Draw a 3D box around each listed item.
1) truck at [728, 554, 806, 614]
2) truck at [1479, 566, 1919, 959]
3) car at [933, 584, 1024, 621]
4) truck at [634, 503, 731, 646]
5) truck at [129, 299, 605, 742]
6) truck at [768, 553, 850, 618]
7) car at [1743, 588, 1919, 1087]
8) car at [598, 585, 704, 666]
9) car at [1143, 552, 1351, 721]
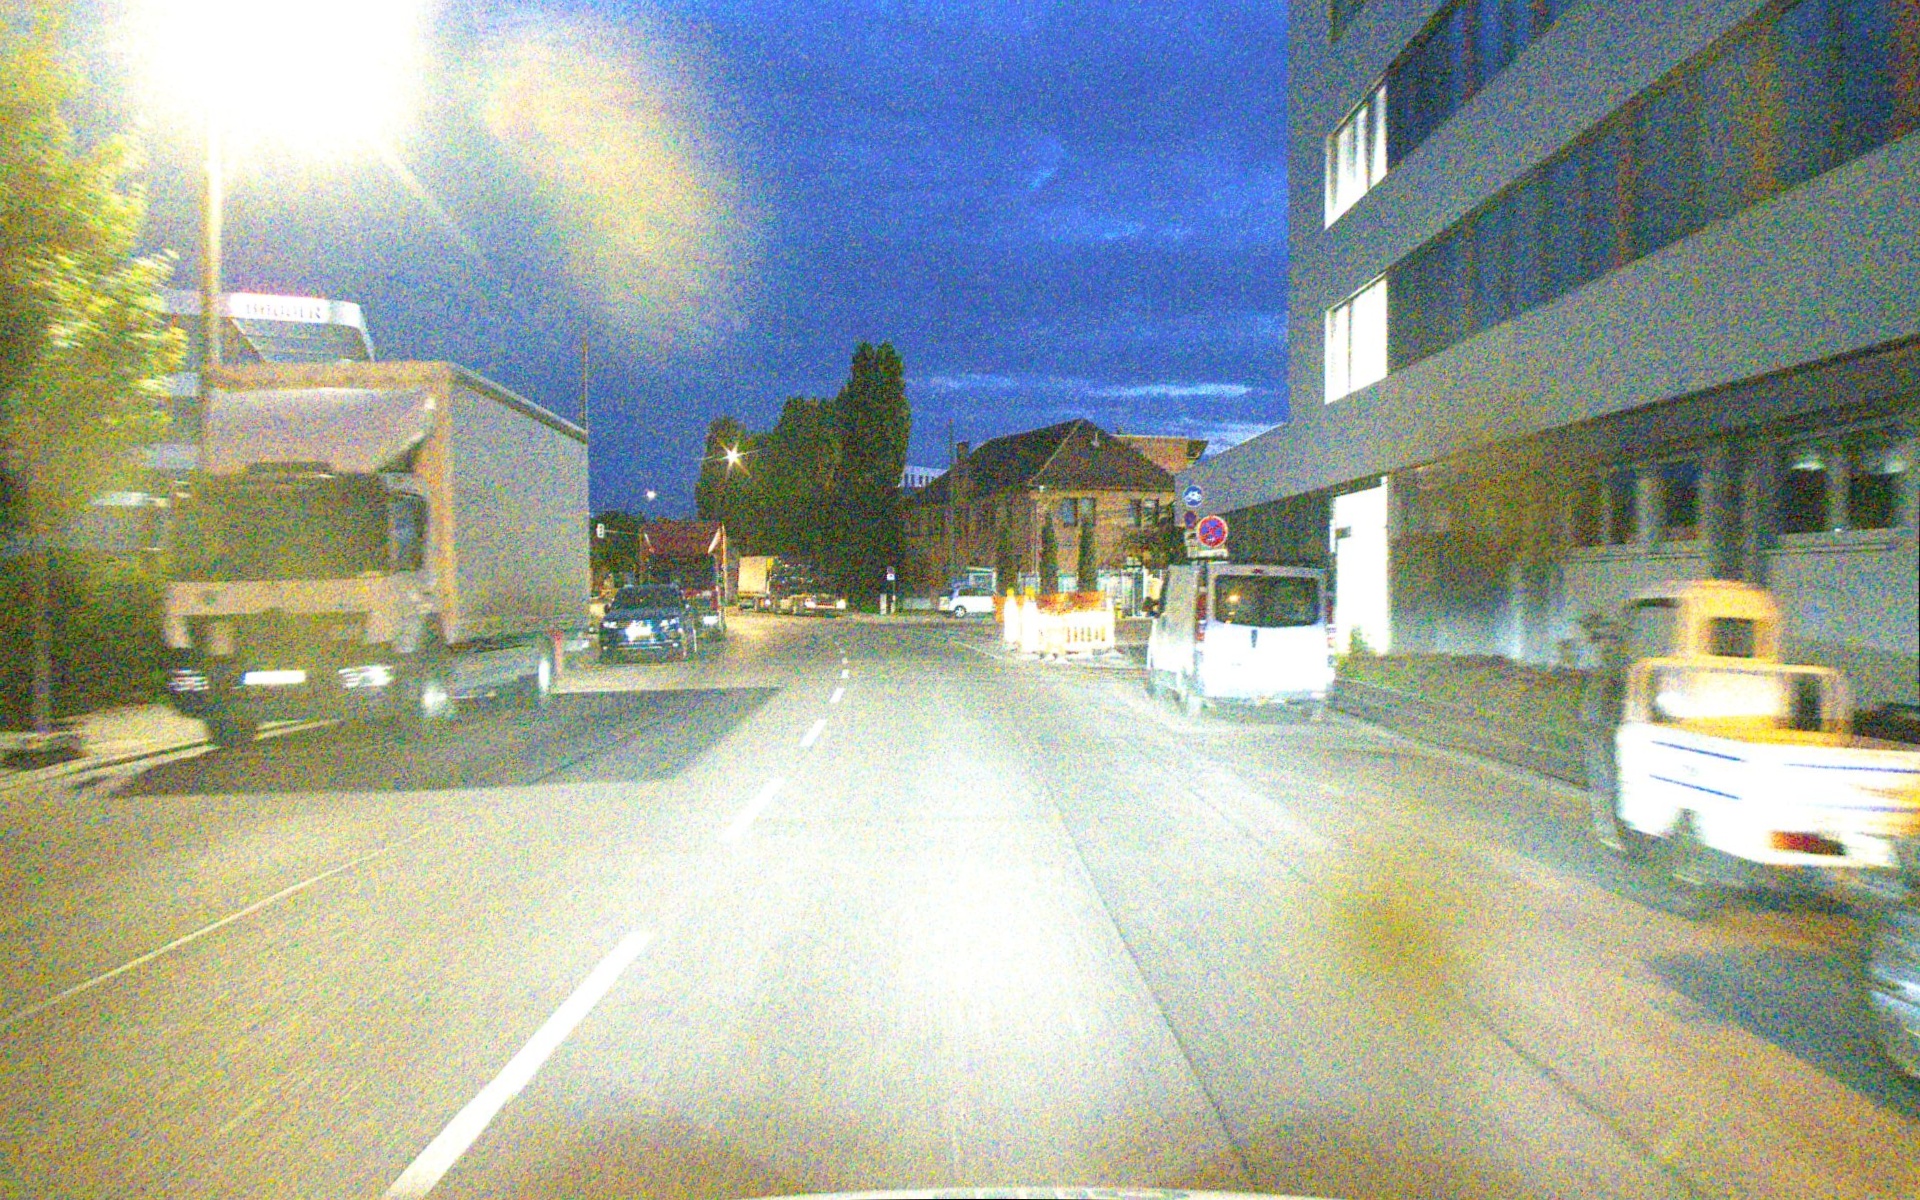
[{"bbox_3d":[-13.080,-1.059,111.388,2.716,3.849,10.159,0,0,-21],"label":"truck"},{"bbox_3d":[4.131,0.689,8.989,1.342,1.673,3.811,0,0,-1],"label":"truck"},{"bbox_3d":[0.930,0.090,85.072,4.267,1.675,1.879,-3,2,-23],"label":"car"},{"bbox_3d":[-8.813,-0.768,53.398,2.720,4.192,9.325,0,0,-7],"label":"truck"},{"bbox_3d":[-6.541,-0.751,20.188,2.691,4.104,9.556,0,0,-2],"label":"truck"},{"bbox_3d":[-9.401,-0.869,101.810,2.716,3.849,9.079,0,0,-21],"label":"truck"},{"bbox_3d":[3.918,0.736,3.624,1.907,1.515,5.008,0,0,-2],"label":"car"},{"bbox_3d":[-7.175,0.546,38.837,1.905,1.747,5.193,0,0,-5],"label":"car"},{"bbox_3d":[3.774,0.432,22.639,1.953,2.049,4.911,-1,0,0],"label":"car"}]
